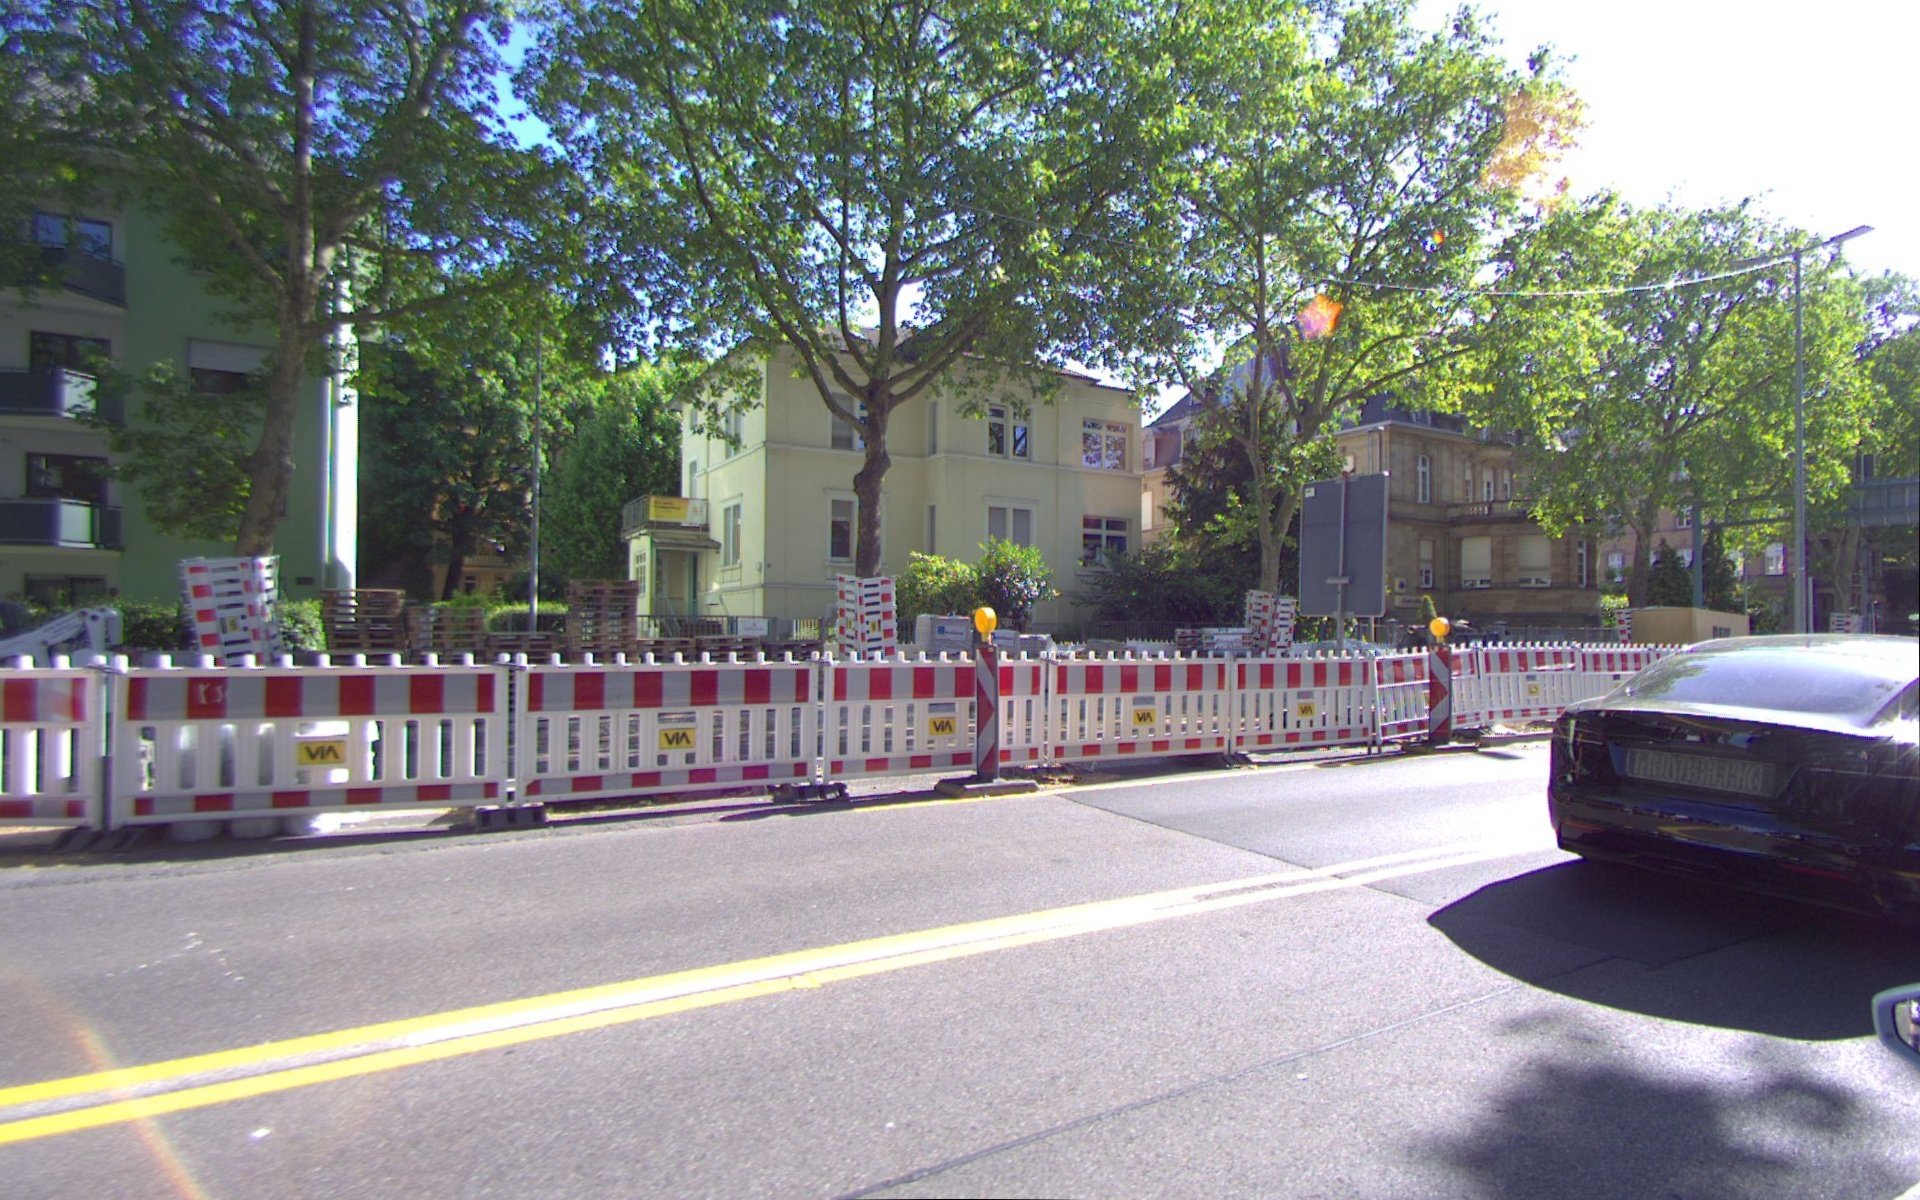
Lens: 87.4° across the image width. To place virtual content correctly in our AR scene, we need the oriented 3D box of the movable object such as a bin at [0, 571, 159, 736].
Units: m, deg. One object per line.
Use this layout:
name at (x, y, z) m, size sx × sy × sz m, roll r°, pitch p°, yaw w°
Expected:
movable object such as a bin at (-15.132, 0.747, 14.252) m, size 5.529 × 2.308 × 1.986 m, roll 2°, pitch -2°, yaw -28°

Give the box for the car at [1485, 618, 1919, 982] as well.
car at (5.421, 0.867, 6.030) m, size 4.572 × 1.431 × 1.915 m, roll 1°, pitch 0°, yaw -31°
